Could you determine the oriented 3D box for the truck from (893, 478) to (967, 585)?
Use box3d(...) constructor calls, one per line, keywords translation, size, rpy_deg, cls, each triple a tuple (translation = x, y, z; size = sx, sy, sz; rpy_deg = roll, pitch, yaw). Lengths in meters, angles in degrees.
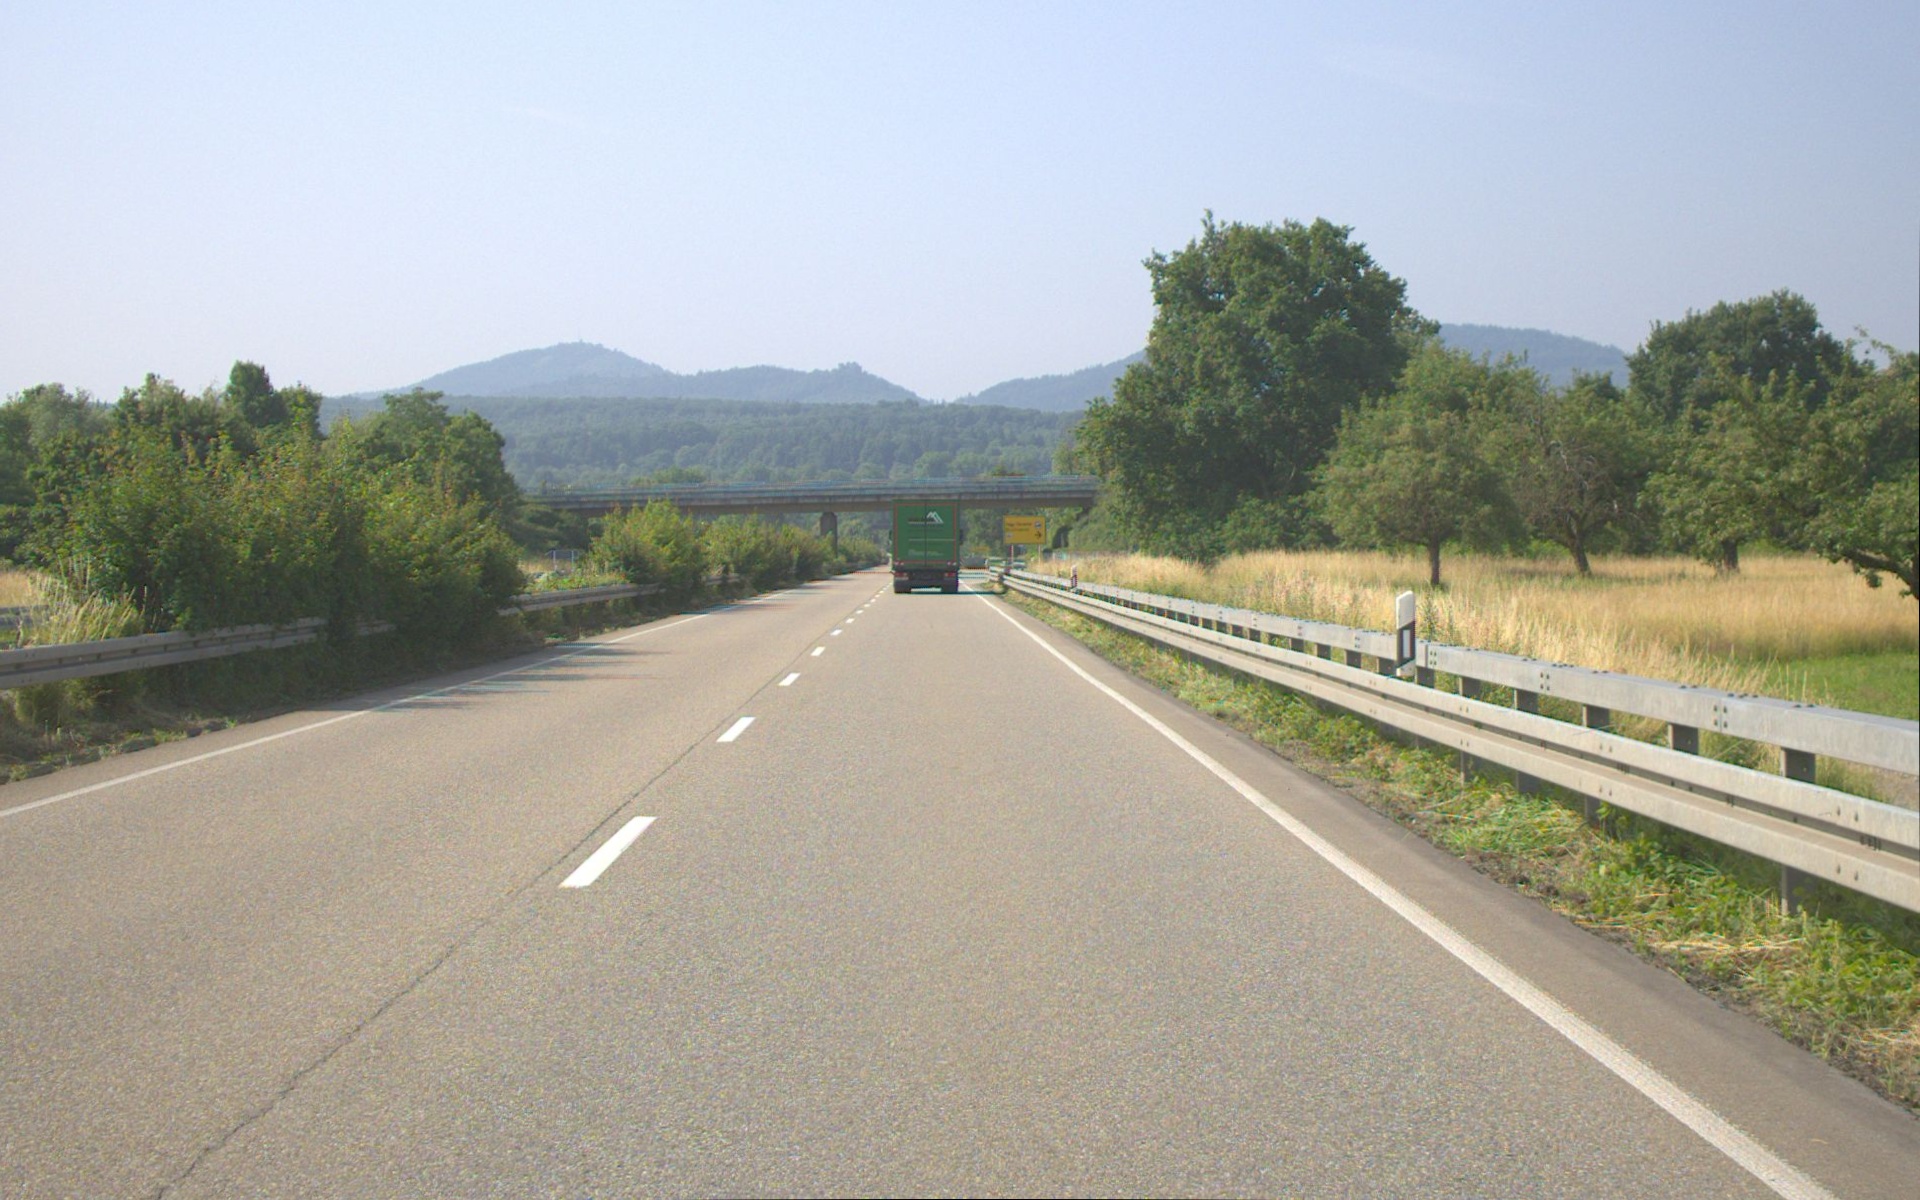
box3d(translation=(-1.140, -2.747, 134.236), size=(2.722, 3.952, 10.417), rpy_deg=(1, 2, 0), cls="truck")
